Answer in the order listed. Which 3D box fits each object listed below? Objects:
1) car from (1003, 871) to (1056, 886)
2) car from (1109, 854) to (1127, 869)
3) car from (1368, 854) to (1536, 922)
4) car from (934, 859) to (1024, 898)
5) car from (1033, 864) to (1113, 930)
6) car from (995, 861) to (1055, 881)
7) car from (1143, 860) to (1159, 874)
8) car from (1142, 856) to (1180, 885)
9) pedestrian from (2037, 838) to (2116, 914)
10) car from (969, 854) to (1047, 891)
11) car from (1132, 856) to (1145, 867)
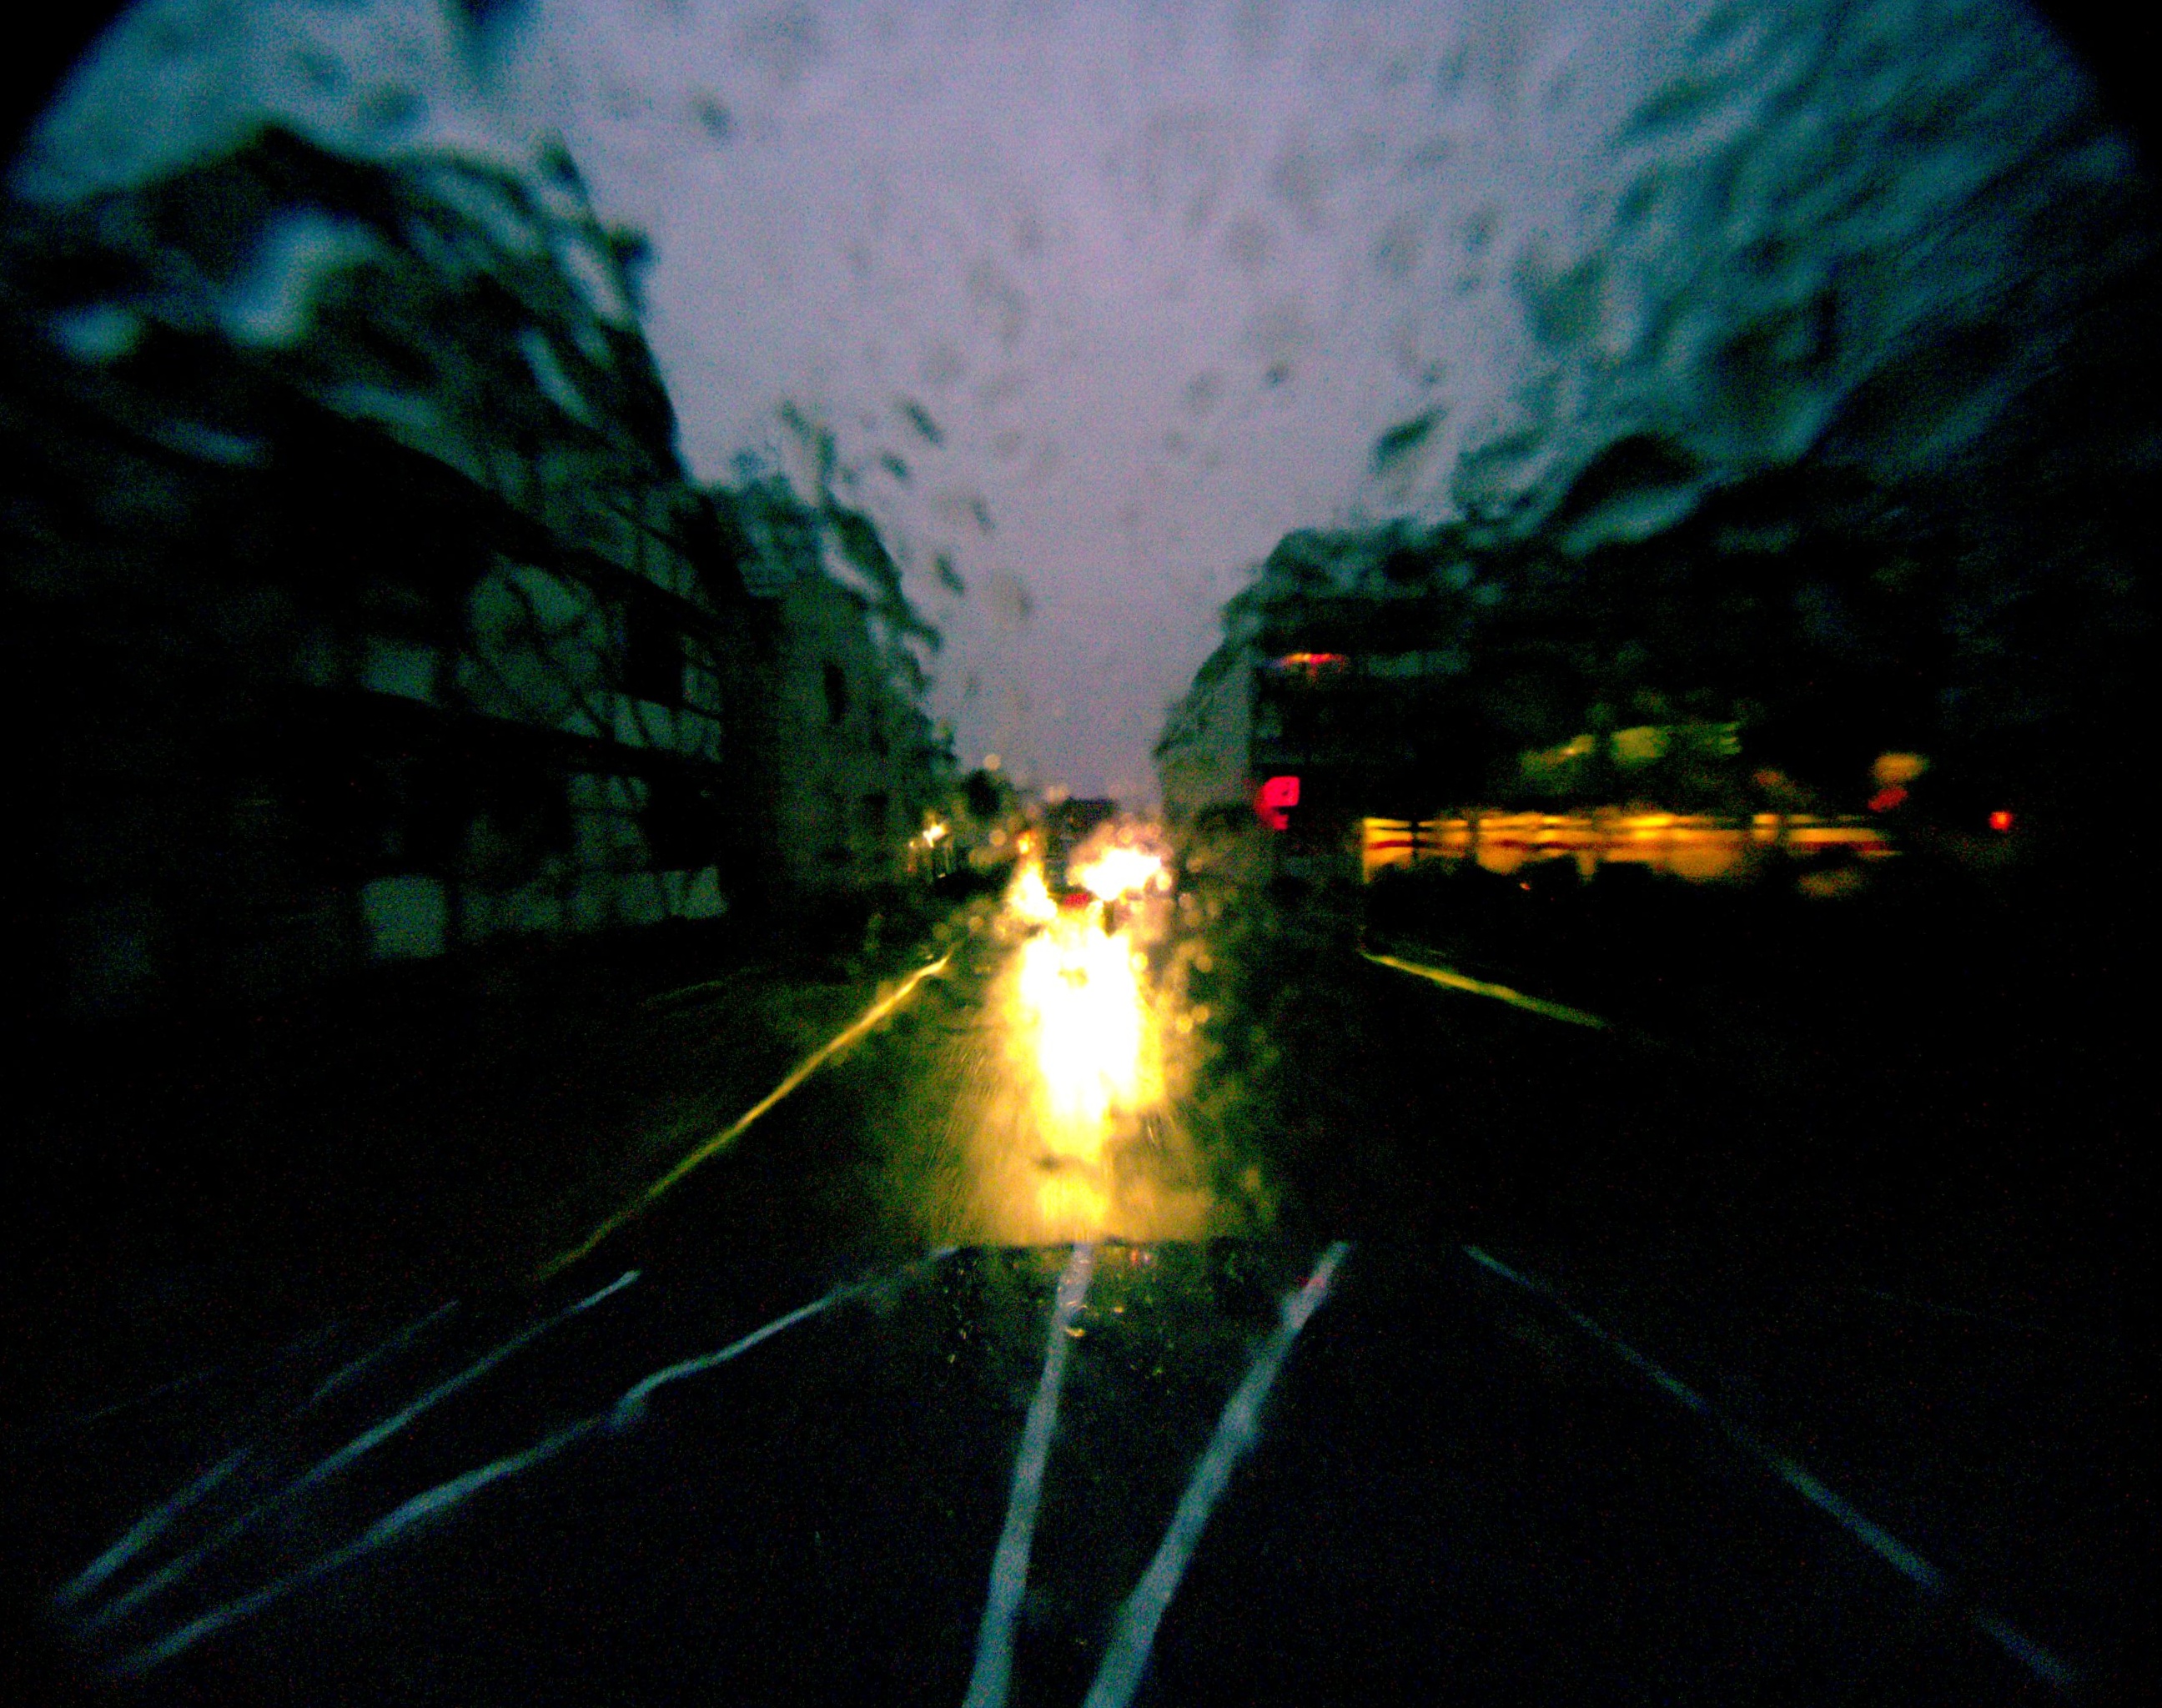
[{"bbox_3d":[-3.815,1.804,56.574,3.888,1.120,1.551,0,0,0],"label":"car"},{"bbox_3d":[4.238,0.825,87.236,1.923,1.608,3.870,-2,0,4],"label":"car"},{"bbox_3d":[8.767,0.799,18.183,3.305,1.498,1.503,-2,0,11],"label":"car"},{"bbox_3d":[-4.491,1.077,33.738,3.853,1.618,1.611,1,0,-4],"label":"car"},{"bbox_3d":[-0.115,1.033,19.658,1.731,1.475,3.605,-2,0,4],"label":"car"},{"bbox_3d":[-3.759,1.130,51.378,3.888,1.359,1.551,0,0,0],"label":"car"},{"bbox_3d":[8.569,1.560,93.114,1.892,1.670,4.002,-2,0,6],"label":"car"},{"bbox_3d":[4.623,0.934,44.378,1.899,1.607,3.827,-2,0,1],"label":"car"},{"bbox_3d":[17.799,0.394,13.605,0.620,1.331,0.568,-1,0,13],"label":"pedestrian"},{"bbox_3d":[-3.742,0.943,39.225,3.889,1.866,1.868,0,0,-5],"label":"car"},{"bbox_3d":[9.340,1.231,123.188,1.835,1.703,3.703,-2,0,10],"label":"car"}]
